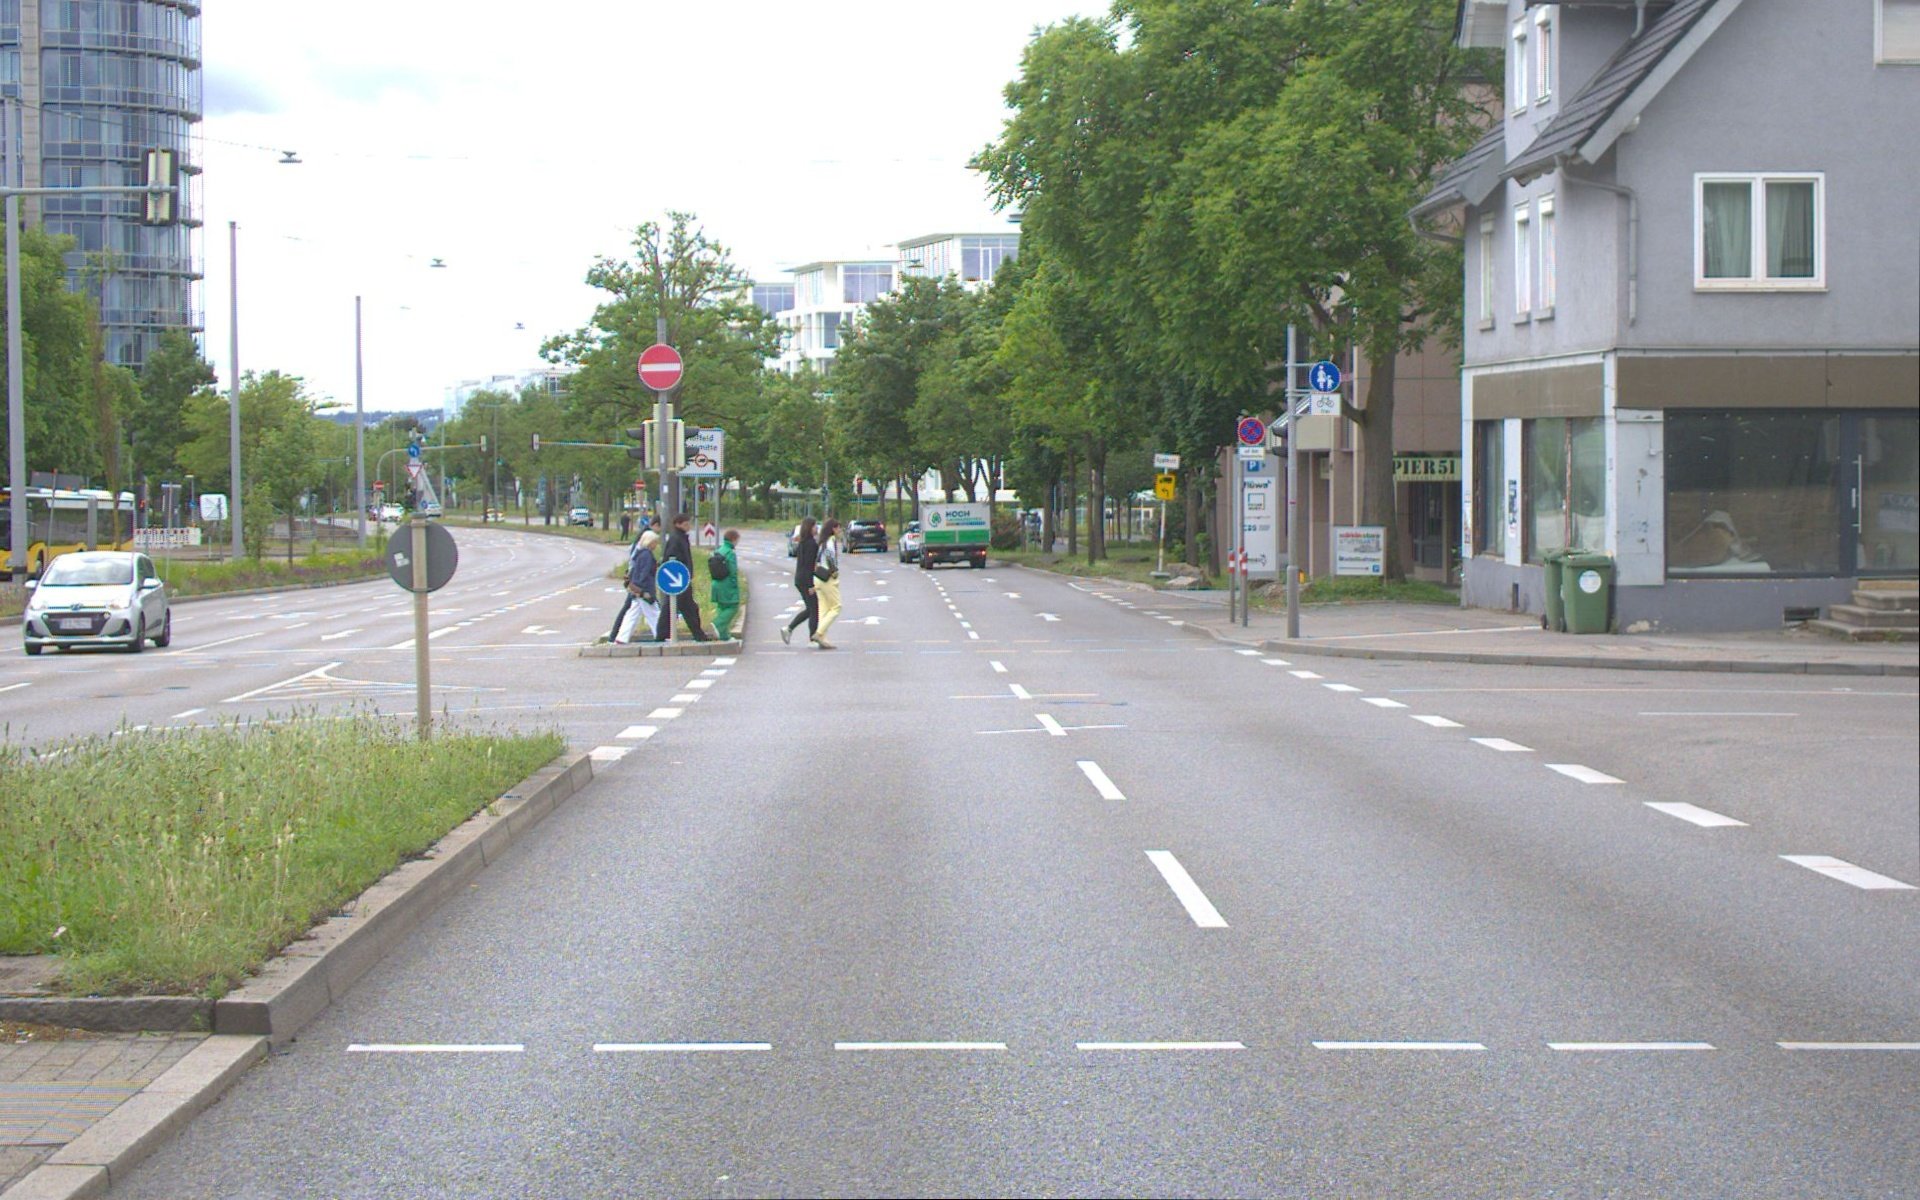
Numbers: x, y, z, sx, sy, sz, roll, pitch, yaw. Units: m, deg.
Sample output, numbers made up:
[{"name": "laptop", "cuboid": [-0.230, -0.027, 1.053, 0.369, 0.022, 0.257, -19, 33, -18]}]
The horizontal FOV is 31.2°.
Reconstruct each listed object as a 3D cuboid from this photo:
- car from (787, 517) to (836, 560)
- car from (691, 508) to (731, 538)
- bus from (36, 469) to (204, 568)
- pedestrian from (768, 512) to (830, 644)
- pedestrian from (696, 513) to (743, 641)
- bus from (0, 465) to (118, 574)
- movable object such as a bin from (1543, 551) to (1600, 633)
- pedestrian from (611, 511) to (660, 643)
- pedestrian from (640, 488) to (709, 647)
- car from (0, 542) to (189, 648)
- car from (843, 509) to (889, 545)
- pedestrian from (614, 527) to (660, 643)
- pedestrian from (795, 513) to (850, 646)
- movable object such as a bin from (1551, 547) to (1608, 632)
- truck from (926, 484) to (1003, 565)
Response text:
[{"name": "car", "cuboid": [-6.370, -2.671, 148.052, 1.993, 1.824, 4.000, 0, 1, -1]}, {"name": "car", "cuboid": [-12.771, -3.939, 176.128, 1.993, 1.514, 4.001, -1, 1, -4]}, {"name": "bus", "cuboid": [-30.368, -2.924, 124.827, 2.832, 3.419, 10.732, -1, 1, 3]}, {"name": "pedestrian", "cuboid": [-2.110, -0.291, 44.889, 0.745, 1.710, 0.583, -1, 1, -7]}, {"name": "pedestrian", "cuboid": [-3.232, -0.315, 46.235, 0.583, 1.710, 0.546, -1, 1, -7]}, {"name": "bus", "cuboid": [-30.981, -2.629, 114.089, 2.832, 3.419, 10.732, -1, 1, 3]}, {"name": "movable object such as a bin", "cuboid": [7.901, -0.105, 44.441, 0.616, 1.039, 0.589, 1, 1, 1]}, {"name": "pedestrian", "cuboid": [-4.260, -0.308, 45.125, 0.612, 1.710, 0.546, -1, 1, -7]}, {"name": "pedestrian", "cuboid": [-3.629, -0.418, 43.722, 0.829, 2.007, 0.546, -1, 1, -7]}, {"name": "car", "cuboid": [-12.822, -0.108, 50.946, 1.993, 1.481, 4.000, -1, 1, -2]}, {"name": "car", "cuboid": [-4.170, -3.273, 153.470, 1.993, 1.546, 4.000, 1, 1, -1]}, {"name": "pedestrian", "cuboid": [-4.183, -0.202, 44.503, 0.543, 1.491, 0.487, -1, 1, -8]}, {"name": "pedestrian", "cuboid": [-1.779, -0.266, 44.412, 0.653, 1.710, 0.452, -1, 1, -7]}, {"name": "movable object such as a bin", "cuboid": [7.914, -0.138, 43.917, 0.604, 1.056, 0.589, 1, 1, 1]}, {"name": "truck", "cuboid": [0.137, -2.599, 116.368, 2.470, 2.602, 6.548, 1, 2, 0]}]
